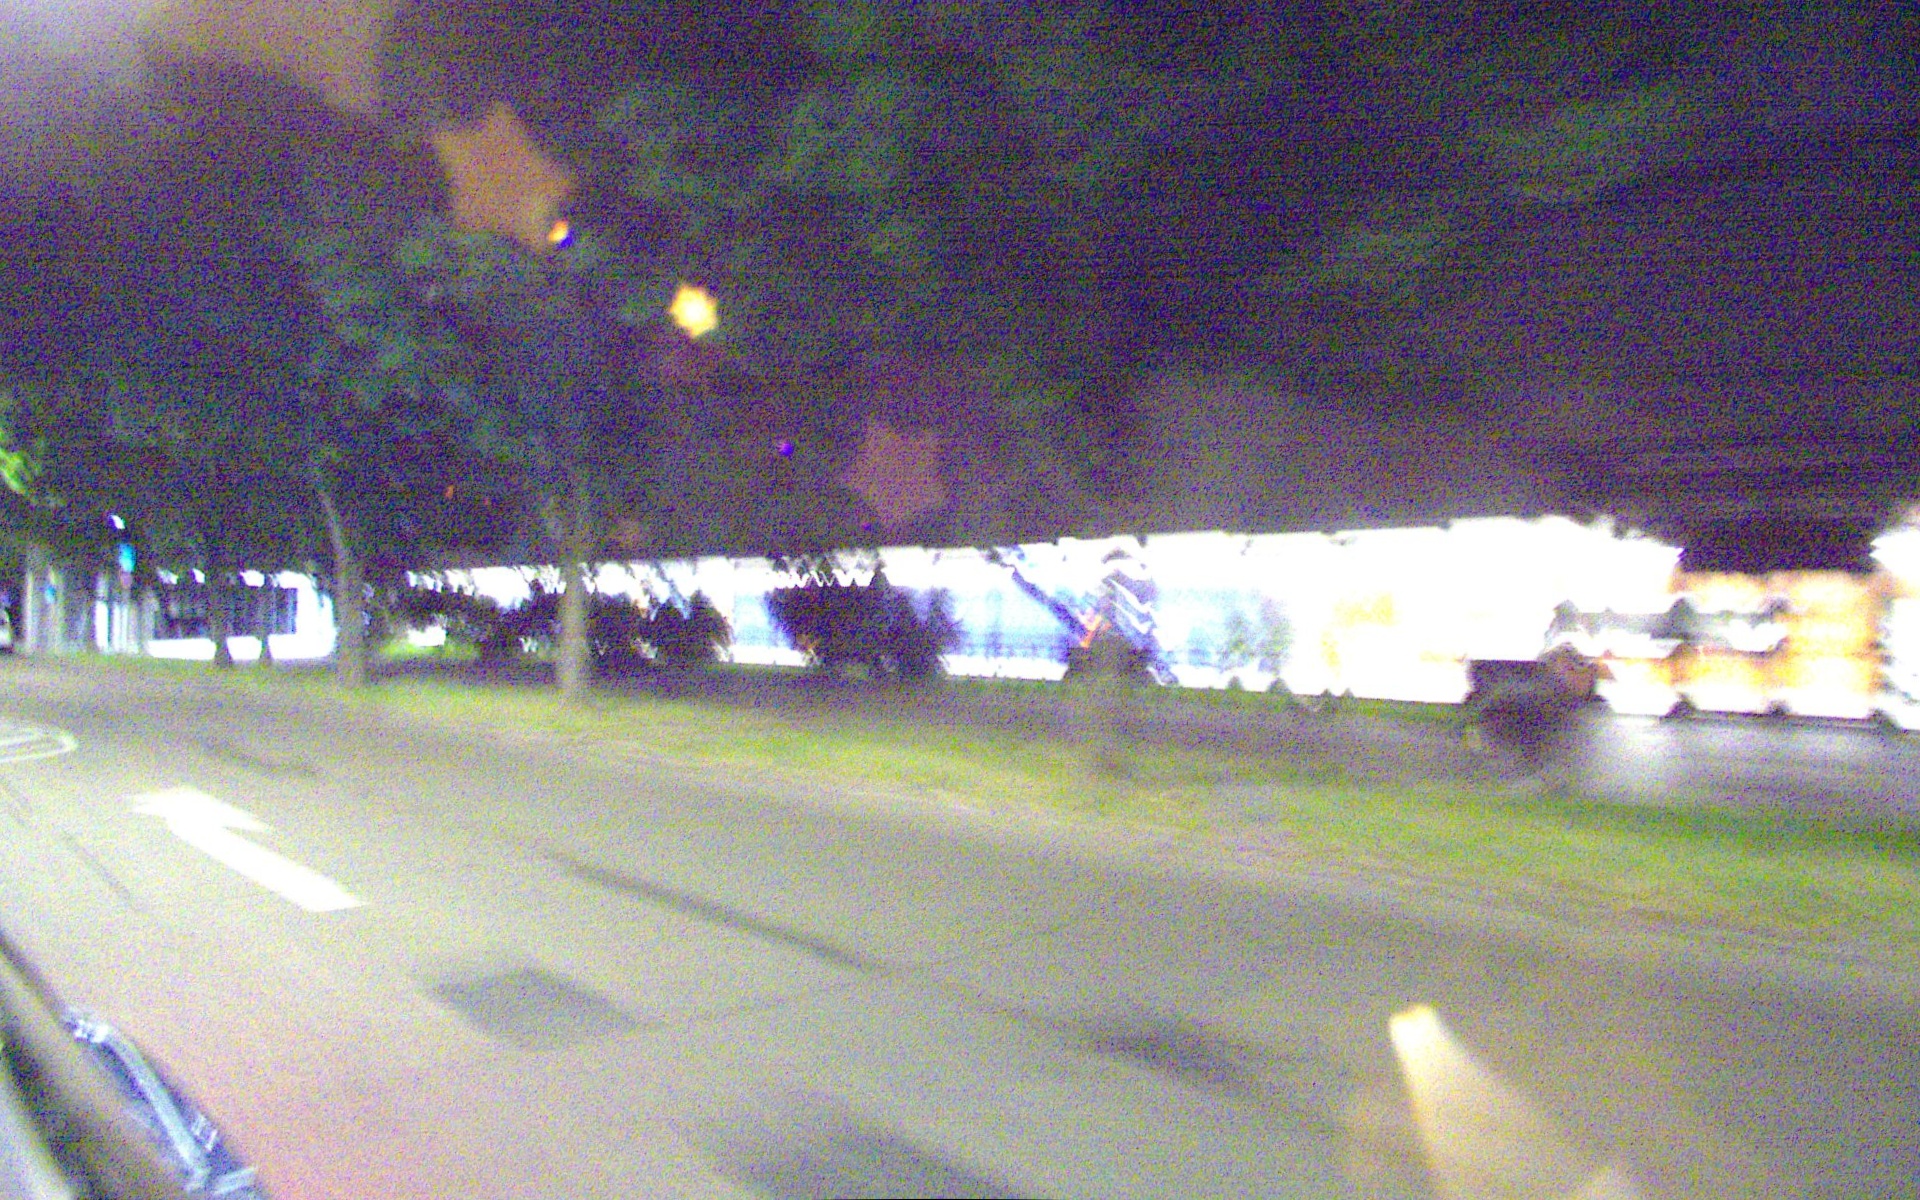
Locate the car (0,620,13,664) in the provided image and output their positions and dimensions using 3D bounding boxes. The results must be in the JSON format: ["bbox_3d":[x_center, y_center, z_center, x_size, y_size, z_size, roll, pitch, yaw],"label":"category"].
[{"bbox_3d":[-41.701,1.812,42.987,3.731,1.822,1.858,-1,0,43],"label":"car"}]
